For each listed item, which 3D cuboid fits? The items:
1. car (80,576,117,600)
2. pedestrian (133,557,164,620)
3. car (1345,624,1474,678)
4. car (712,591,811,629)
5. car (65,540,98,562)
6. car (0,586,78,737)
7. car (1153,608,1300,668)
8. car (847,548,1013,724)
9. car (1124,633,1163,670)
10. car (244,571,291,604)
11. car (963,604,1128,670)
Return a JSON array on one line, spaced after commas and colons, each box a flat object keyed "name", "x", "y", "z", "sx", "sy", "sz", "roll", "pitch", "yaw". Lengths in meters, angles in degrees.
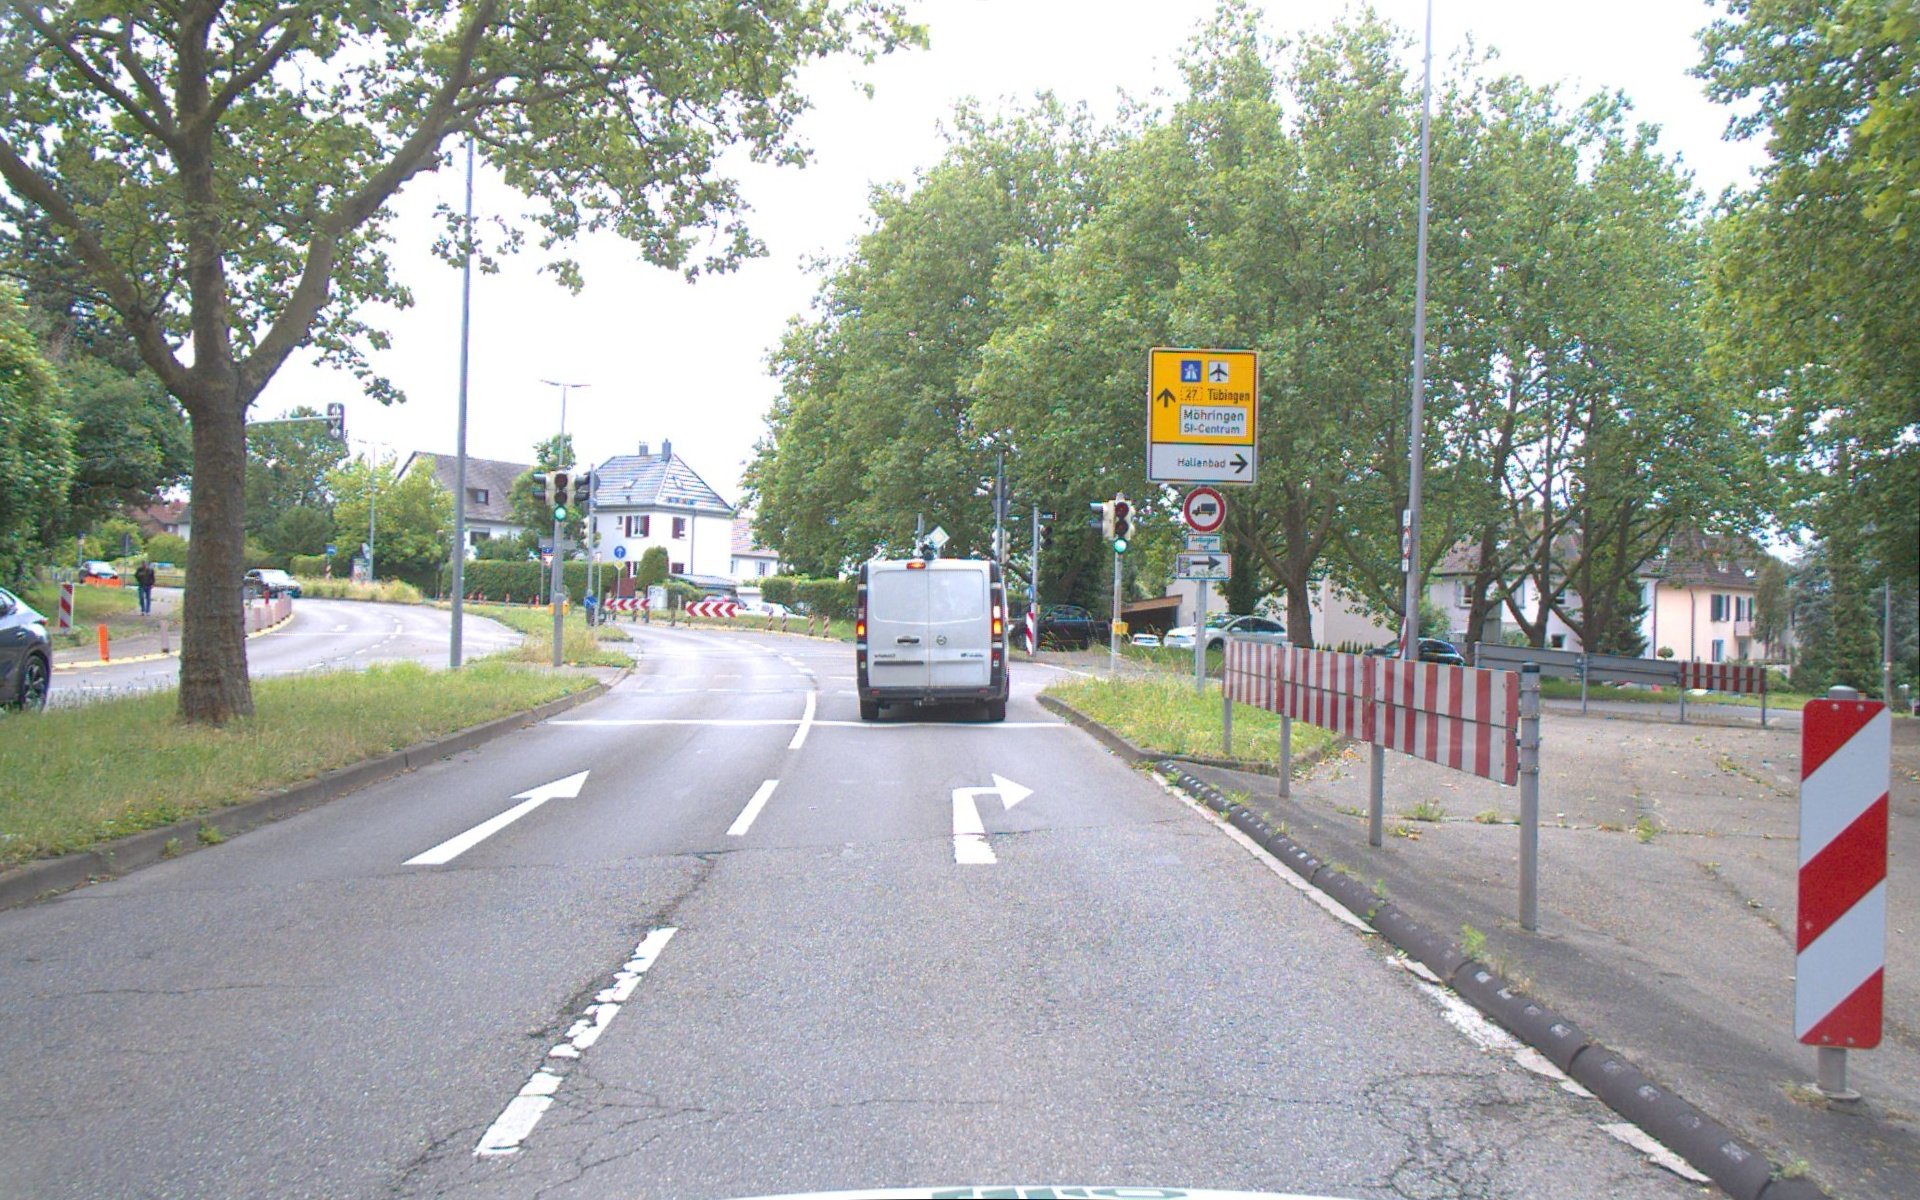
[{"name": "car", "x": -61.637, "y": -0.863, "z": 118.296, "sx": 1.871, "sy": 1.653, "sz": 4.379, "roll": 2, "pitch": 0, "yaw": -34}, {"name": "pedestrian", "x": -26.950, "y": -0.383, "z": 54.919, "sx": 0.728, "sy": 2.048, "sz": 0.630, "roll": 3, "pitch": 1, "yaw": -17}, {"name": "car", "x": 15.990, "y": 1.827, "z": 58.744, "sx": 4.692, "sy": 1.800, "sz": 1.974, "roll": 2, "pitch": -1, "yaw": -37}, {"name": "car", "x": -10.273, "y": 0.527, "z": 85.604, "sx": 4.630, "sy": 1.800, "sz": 2.001, "roll": 2, "pitch": 0, "yaw": 17}, {"name": "car", "x": -71.771, "y": -4.010, "z": 135.110, "sx": 1.871, "sy": 1.653, "sz": 4.379, "roll": 2, "pitch": 0, "yaw": -34}, {"name": "car", "x": -11.435, "y": 0.650, "z": 18.007, "sx": 1.912, "sy": 1.653, "sz": 4.419, "roll": 1, "pitch": -1, "yaw": -10}, {"name": "car", "x": 8.629, "y": 1.228, "z": 53.395, "sx": 4.692, "sy": 1.800, "sz": 1.974, "roll": 2, "pitch": -1, "yaw": -37}, {"name": "car", "x": -0.311, "y": 0.443, "z": 22.105, "sx": 1.965, "sy": 2.073, "sz": 5.010, "roll": 0, "pitch": 0, "yaw": 1}, {"name": "car", "x": 9.640, "y": 2.703, "z": 87.221, "sx": 1.868, "sy": 1.774, "sz": 3.773, "roll": 2, "pitch": 0, "yaw": 4}, {"name": "car", "x": -37.314, "y": -0.663, "z": 89.067, "sx": 1.867, "sy": 1.653, "sz": 4.387, "roll": 2, "pitch": -1, "yaw": -29}, {"name": "car", "x": 2.557, "y": 1.105, "z": 49.020, "sx": 4.692, "sy": 1.800, "sz": 1.974, "roll": 2, "pitch": -1, "yaw": -37}]
